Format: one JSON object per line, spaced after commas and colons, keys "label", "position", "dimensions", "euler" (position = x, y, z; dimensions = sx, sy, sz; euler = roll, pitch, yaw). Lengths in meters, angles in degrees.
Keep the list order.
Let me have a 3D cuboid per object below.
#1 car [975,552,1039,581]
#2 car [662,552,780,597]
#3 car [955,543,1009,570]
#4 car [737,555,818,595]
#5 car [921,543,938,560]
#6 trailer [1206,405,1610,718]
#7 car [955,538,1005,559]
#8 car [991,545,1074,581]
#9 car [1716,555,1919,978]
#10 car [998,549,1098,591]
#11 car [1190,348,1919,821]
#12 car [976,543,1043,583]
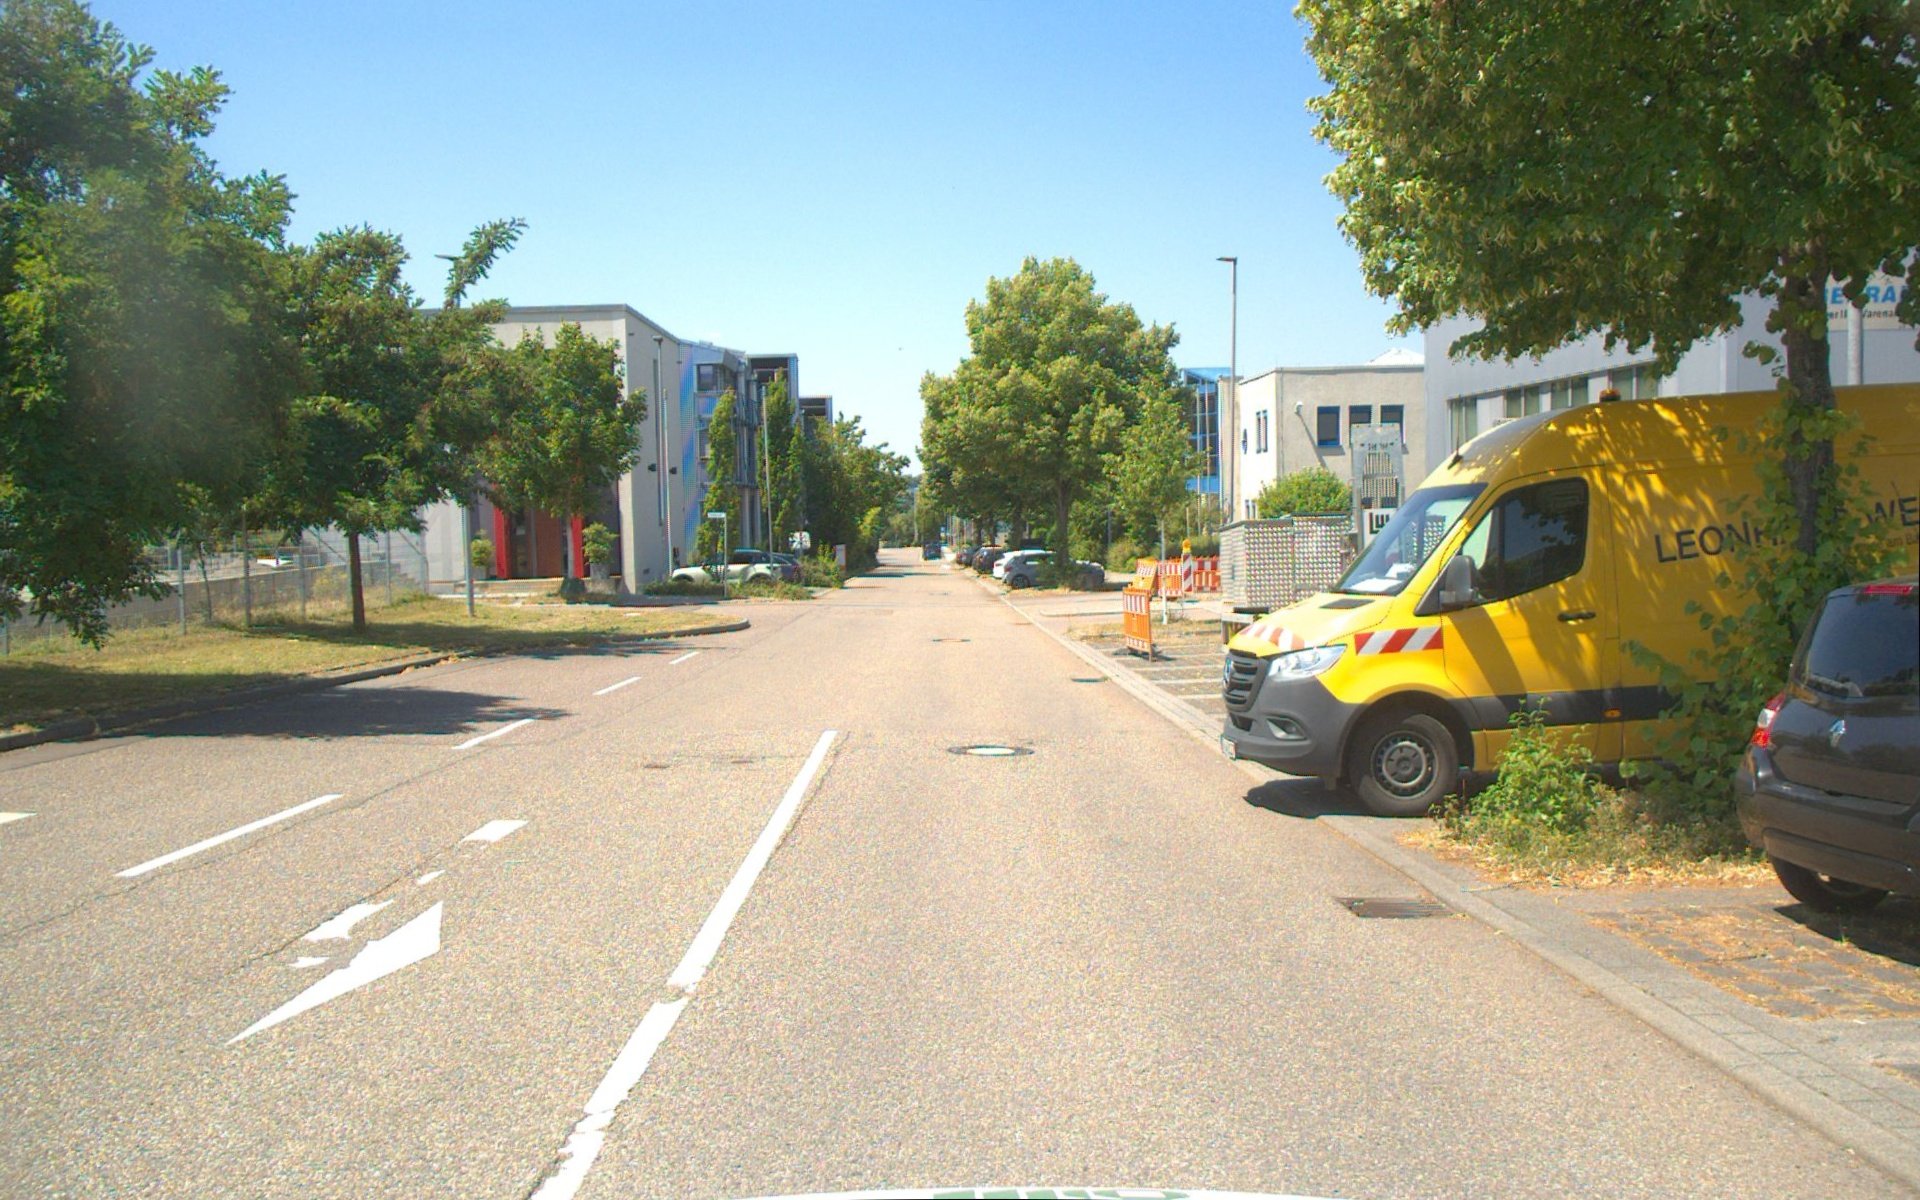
{"label": "car", "position": [2.699, -1.957, 95.947], "dimensions": [3.647, 1.655, 1.814], "euler": [-1, 1, -2]}
{"label": "car", "position": [-8.391, -0.915, 58.254], "dimensions": [3.966, 1.521, 1.728], "euler": [-1, 1, -4]}
{"label": "car", "position": [1.626, -3.221, 123.170], "dimensions": [3.859, 1.866, 1.764], "euler": [-1, 5, -9]}
{"label": "car", "position": [-6.941, -0.963, 62.805], "dimensions": [3.000, 1.504, 1.290], "euler": [0, 1, -8]}
{"label": "car", "position": [-3.229, -5.140, 174.542], "dimensions": [1.725, 1.786, 3.945], "euler": [0, 1, -1]}
{"label": "trailer", "position": [4.789, -0.457, 18.850], "dimensions": [2.605, 2.906, 5.515], "euler": [-3, 2, -5]}
{"label": "car", "position": [1.658, -4.227, 135.384], "dimensions": [3.859, 1.604, 1.764], "euler": [-1, 5, -9]}
{"label": "car", "position": [3.195, -1.659, 73.523], "dimensions": [3.449, 1.377, 1.536], "euler": [-4, 2, -6]}
{"label": "car", "position": [5.176, 0.550, 6.652], "dimensions": [3.530, 1.504, 1.627], "euler": [-1, 1, -3]}
{"label": "car", "position": [3.379, -1.173, 63.796], "dimensions": [3.609, 1.377, 1.643], "euler": [-4, 2, -6]}
{"label": "car", "position": [4.625, -0.181, 11.422], "dimensions": [5.664, 2.779, 1.999], "euler": [-3, 2, -3]}
{"label": "car", "position": [2.731, -2.069, 92.528], "dimensions": [3.647, 2.147, 1.814], "euler": [-1, 1, -2]}
